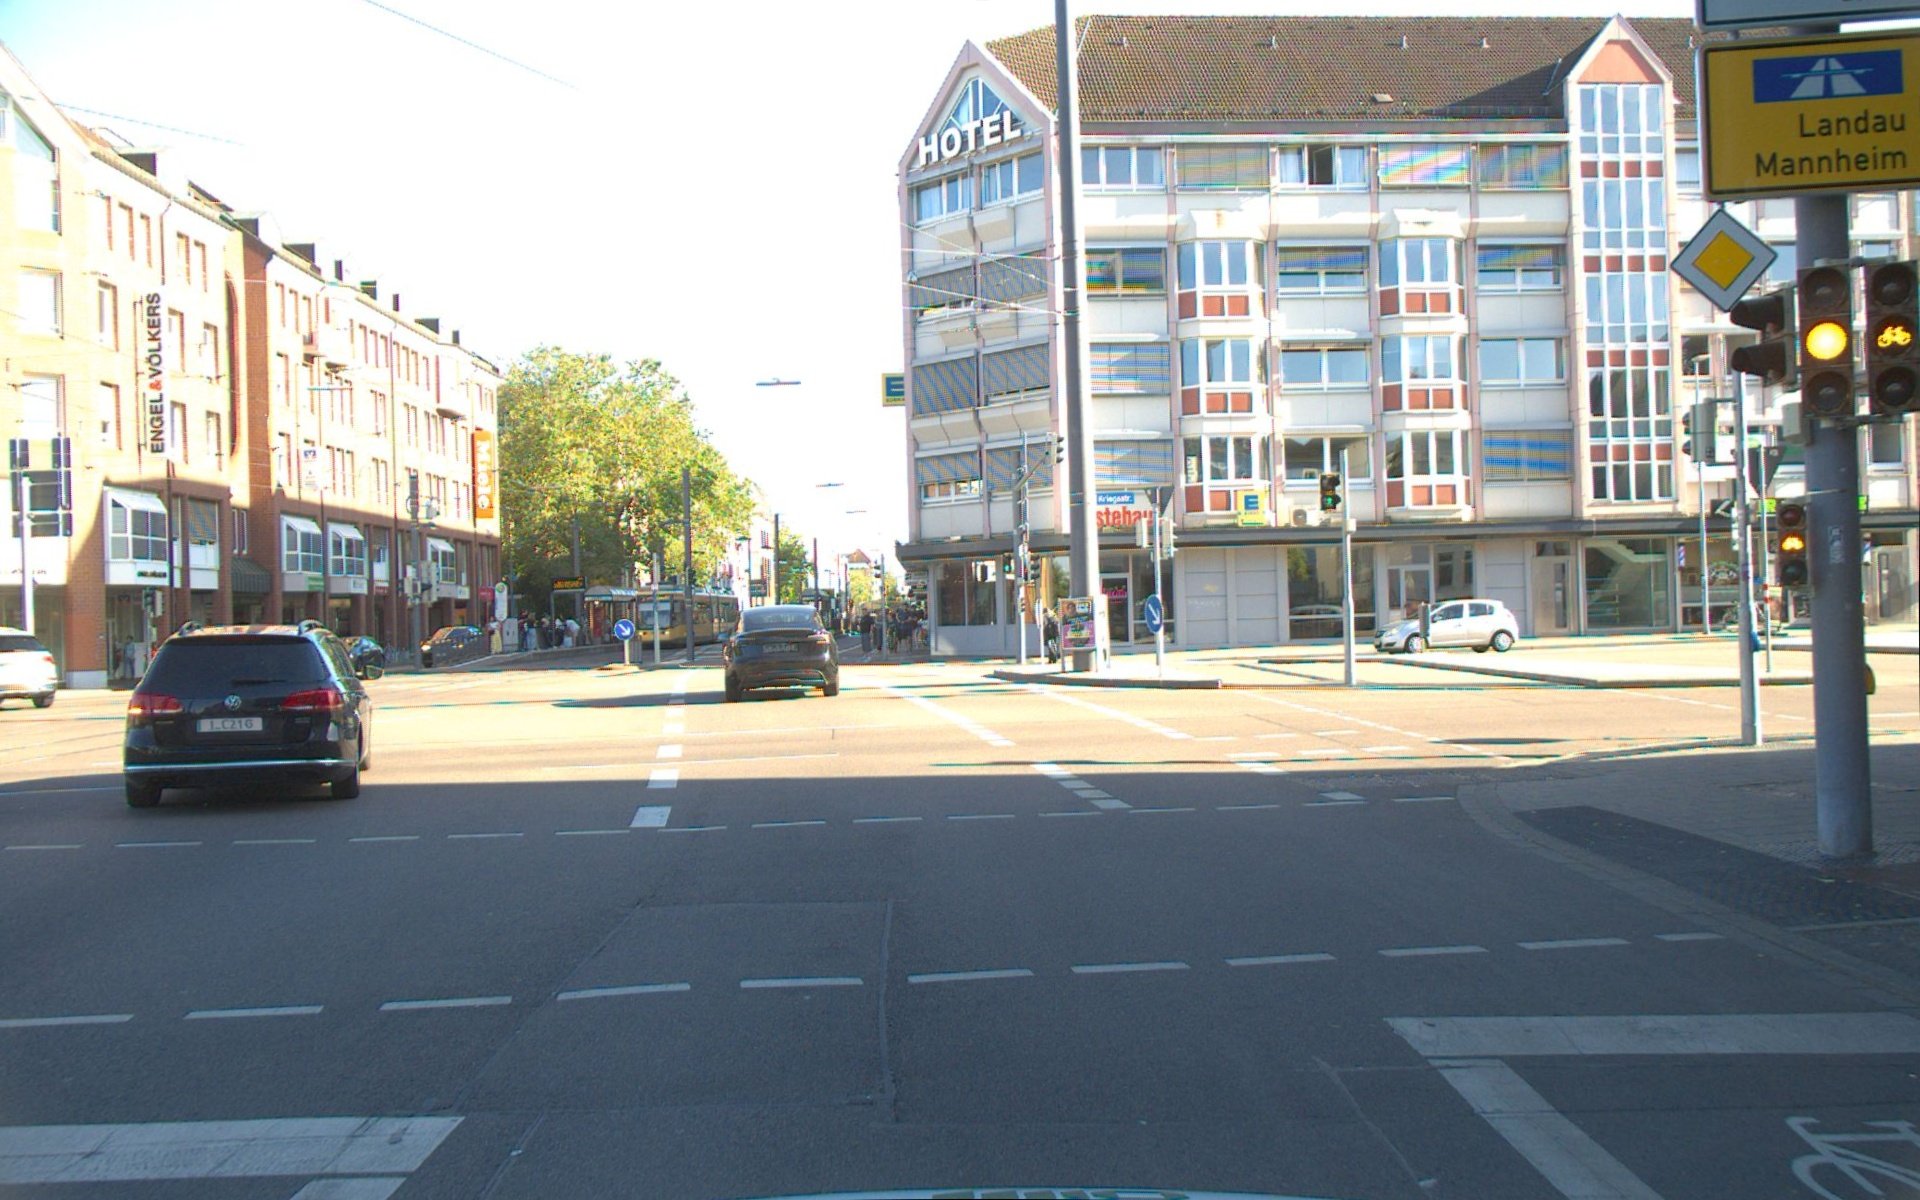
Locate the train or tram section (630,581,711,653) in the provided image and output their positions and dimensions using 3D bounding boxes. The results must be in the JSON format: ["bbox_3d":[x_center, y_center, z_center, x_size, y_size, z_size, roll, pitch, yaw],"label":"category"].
[{"bbox_3d":[-15.644,0.977,90.115,2.673,3.604,10.084,-1,-1,-1],"label":"train or tram section"}]

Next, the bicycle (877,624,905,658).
[{"bbox_3d":[-2.522,1.493,60.057,0.481,1.181,1.963,-1,-1,-18],"label":"bicycle"}]

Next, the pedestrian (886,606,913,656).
[{"bbox_3d":[-2.207,1.132,60.416,0.896,1.785,0.839,-1,-1,1],"label":"pedestrian"}]

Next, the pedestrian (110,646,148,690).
[{"bbox_3d":[-30.260,2.473,60.220,0.866,1.596,0.863,-2,-1,23],"label":"pedestrian"}]

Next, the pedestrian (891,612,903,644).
[{"bbox_3d":[-3.893,1.703,101.794,0.682,1.930,0.749,-1,-1,-1],"label":"pedestrian"}]

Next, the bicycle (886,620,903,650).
[{"bbox_3d":[-2.486,1.321,62.304,0.479,1.121,2.121,-1,-1,-6],"label":"bicycle"}]

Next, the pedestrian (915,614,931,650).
[{"bbox_3d":[-1.781,1.531,79.569,0.732,1.707,0.699,-1,-1,0],"label":"pedestrian"}]

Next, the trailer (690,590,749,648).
[{"bbox_3d":[-15.895,1.316,110.002,2.658,3.608,9.355,-1,-1,-1],"label":"trailer"}]

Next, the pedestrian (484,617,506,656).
[{"bbox_3d":[-19.076,1.494,67.799,0.622,1.591,0.585,-2,-1,19],"label":"pedestrian"}]

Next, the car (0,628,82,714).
[{"bbox_3d":[-20.072,1.464,33.872,3.402,1.663,1.846,-2,-1,19],"label":"car"}]

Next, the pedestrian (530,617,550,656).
[{"bbox_3d":[-18.918,1.642,74.574,0.574,1.751,0.634,-2,-2,40],"label":"pedestrian"}]

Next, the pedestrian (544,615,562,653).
[{"bbox_3d":[-19.051,1.593,77.391,0.622,1.751,0.609,-2,-1,8],"label":"pedestrian"}]

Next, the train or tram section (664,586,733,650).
[{"bbox_3d":[-15.765,1.132,100.235,2.658,3.608,10.165,-1,-1,-1],"label":"train or tram section"}]

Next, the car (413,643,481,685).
[{"bbox_3d":[-21.535,2.666,69.533,1.781,1.571,3.789,-3,-1,-3],"label":"car"}]

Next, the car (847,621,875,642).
[{"bbox_3d":[-8.089,2.570,135.365,1.700,1.694,3.711,-2,-1,6],"label":"car"}]

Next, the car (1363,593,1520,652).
[{"bbox_3d":[13.419,0.629,46.225,3.765,1.457,1.802,-2,-3,-4],"label":"car"}]

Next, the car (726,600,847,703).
[{"bbox_3d":[-2.880,0.780,27.184,1.757,1.476,3.933,-3,0,-7],"label":"car"}]

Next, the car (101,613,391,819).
[{"bbox_3d":[-6.093,0.886,14.603,1.736,1.469,4.508,-1,0,-16],"label":"car"}]

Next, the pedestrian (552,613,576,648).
[{"bbox_3d":[-18.839,1.446,78.680,0.981,1.653,0.846,-1,-1,-9],"label":"pedestrian"}]

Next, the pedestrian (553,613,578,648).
[{"bbox_3d":[-18.985,1.453,79.617,1.085,1.653,0.846,-1,-1,-9],"label":"pedestrian"}]

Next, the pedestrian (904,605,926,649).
[{"bbox_3d":[-1.779,1.067,65.043,0.675,1.718,0.669,-1,-1,-15],"label":"pedestrian"}]

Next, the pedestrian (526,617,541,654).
[{"bbox_3d":[-18.041,1.490,69.897,0.574,1.558,0.635,-1,-1,-16],"label":"pedestrian"}]

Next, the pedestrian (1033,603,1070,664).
[{"bbox_3d":[2.451,0.883,44.496,0.766,1.604,0.864,-1,0,-13],"label":"pedestrian"}]

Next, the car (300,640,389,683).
[{"bbox_3d":[-24.083,2.399,64.835,1.779,1.479,3.979,-4,-1,3],"label":"car"}]

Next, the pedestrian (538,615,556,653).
[{"bbox_3d":[-19.157,1.592,76.758,0.622,1.751,0.586,-2,-1,7],"label":"pedestrian"}]

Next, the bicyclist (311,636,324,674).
[{"bbox_3d":[-25.923,2.210,66.755,0.475,1.496,0.714,-1,-1,-21],"label":"bicyclist"}]

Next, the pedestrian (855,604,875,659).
[{"bbox_3d":[-3.181,1.039,55.067,0.614,1.814,0.917,-1,-1,-4],"label":"pedestrian"}]

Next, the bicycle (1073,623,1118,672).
[{"bbox_3d":[3.706,1.314,45.478,0.535,1.307,1.898,-1,-1,-17],"label":"bicycle"}]

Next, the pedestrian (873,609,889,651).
[{"bbox_3d":[-2.989,1.135,62.717,0.463,1.590,0.543,-1,-1,-13],"label":"pedestrian"}]

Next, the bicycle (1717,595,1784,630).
[{"bbox_3d":[25.446,0.391,53.243,1.929,1.068,0.535,-1,-1,-7],"label":"bicycle"}]

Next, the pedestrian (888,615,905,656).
[{"bbox_3d":[-2.718,1.532,71.159,0.682,1.707,0.749,-1,-1,-1],"label":"pedestrian"}]

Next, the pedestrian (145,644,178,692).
[{"bbox_3d":[-27.565,2.339,57.130,0.697,1.622,0.776,2,-1,-1],"label":"pedestrian"}]

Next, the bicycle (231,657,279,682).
[{"bbox_3d":[-27.795,2.727,65.214,1.676,0.916,0.521,-1,-1,-3],"label":"bicycle"}]
